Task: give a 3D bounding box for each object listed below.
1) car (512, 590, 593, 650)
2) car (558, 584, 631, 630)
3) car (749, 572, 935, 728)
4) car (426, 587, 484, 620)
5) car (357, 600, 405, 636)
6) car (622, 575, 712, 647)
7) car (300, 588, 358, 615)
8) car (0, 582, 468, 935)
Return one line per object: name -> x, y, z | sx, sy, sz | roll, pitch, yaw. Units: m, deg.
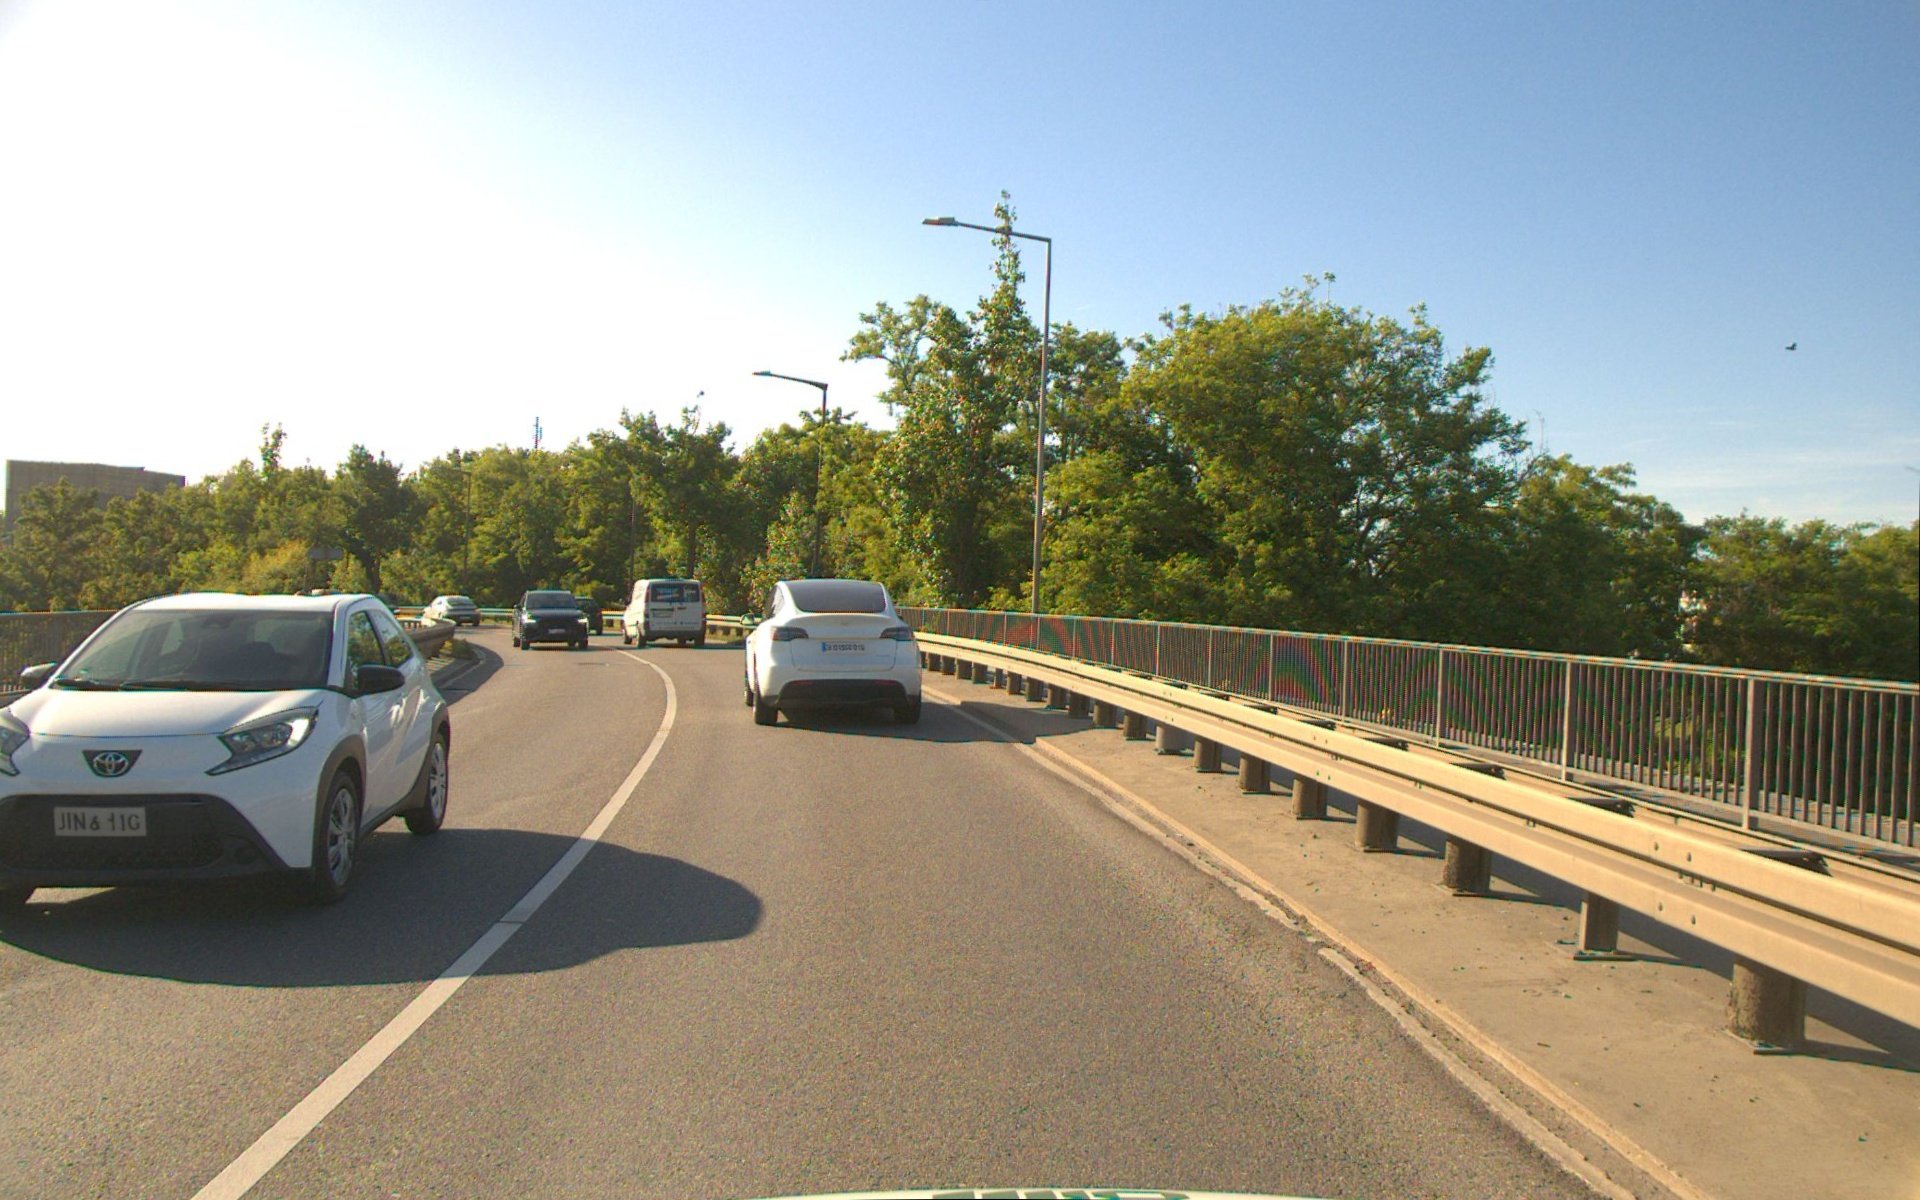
car -> -11.446, 0.519, 46.258 | 1.797, 1.579, 4.160 | 0, 0, -20
car -> -14.129, 0.284, 63.794 | 1.944, 1.666, 3.968 | -1, 0, -25
car -> -1.518, 0.525, 19.821 | 1.948, 1.666, 4.055 | 0, 0, -8
car -> -25.113, 0.161, 82.220 | 1.842, 1.612, 3.871 | 0, 0, -32
car -> -28.602, 0.873, 81.603 | 1.874, 1.671, 4.429 | 0, 0, -24
car -> -8.492, 0.290, 47.637 | 1.974, 1.974, 4.444 | 0, 0, -18
car -> -38.174, 0.066, 100.038 | 3.827, 1.583, 1.829 | 0, 0, 44
car -> -3.991, 0.682, 9.183 | 1.802, 1.545, 3.764 | 0, 0, -7
